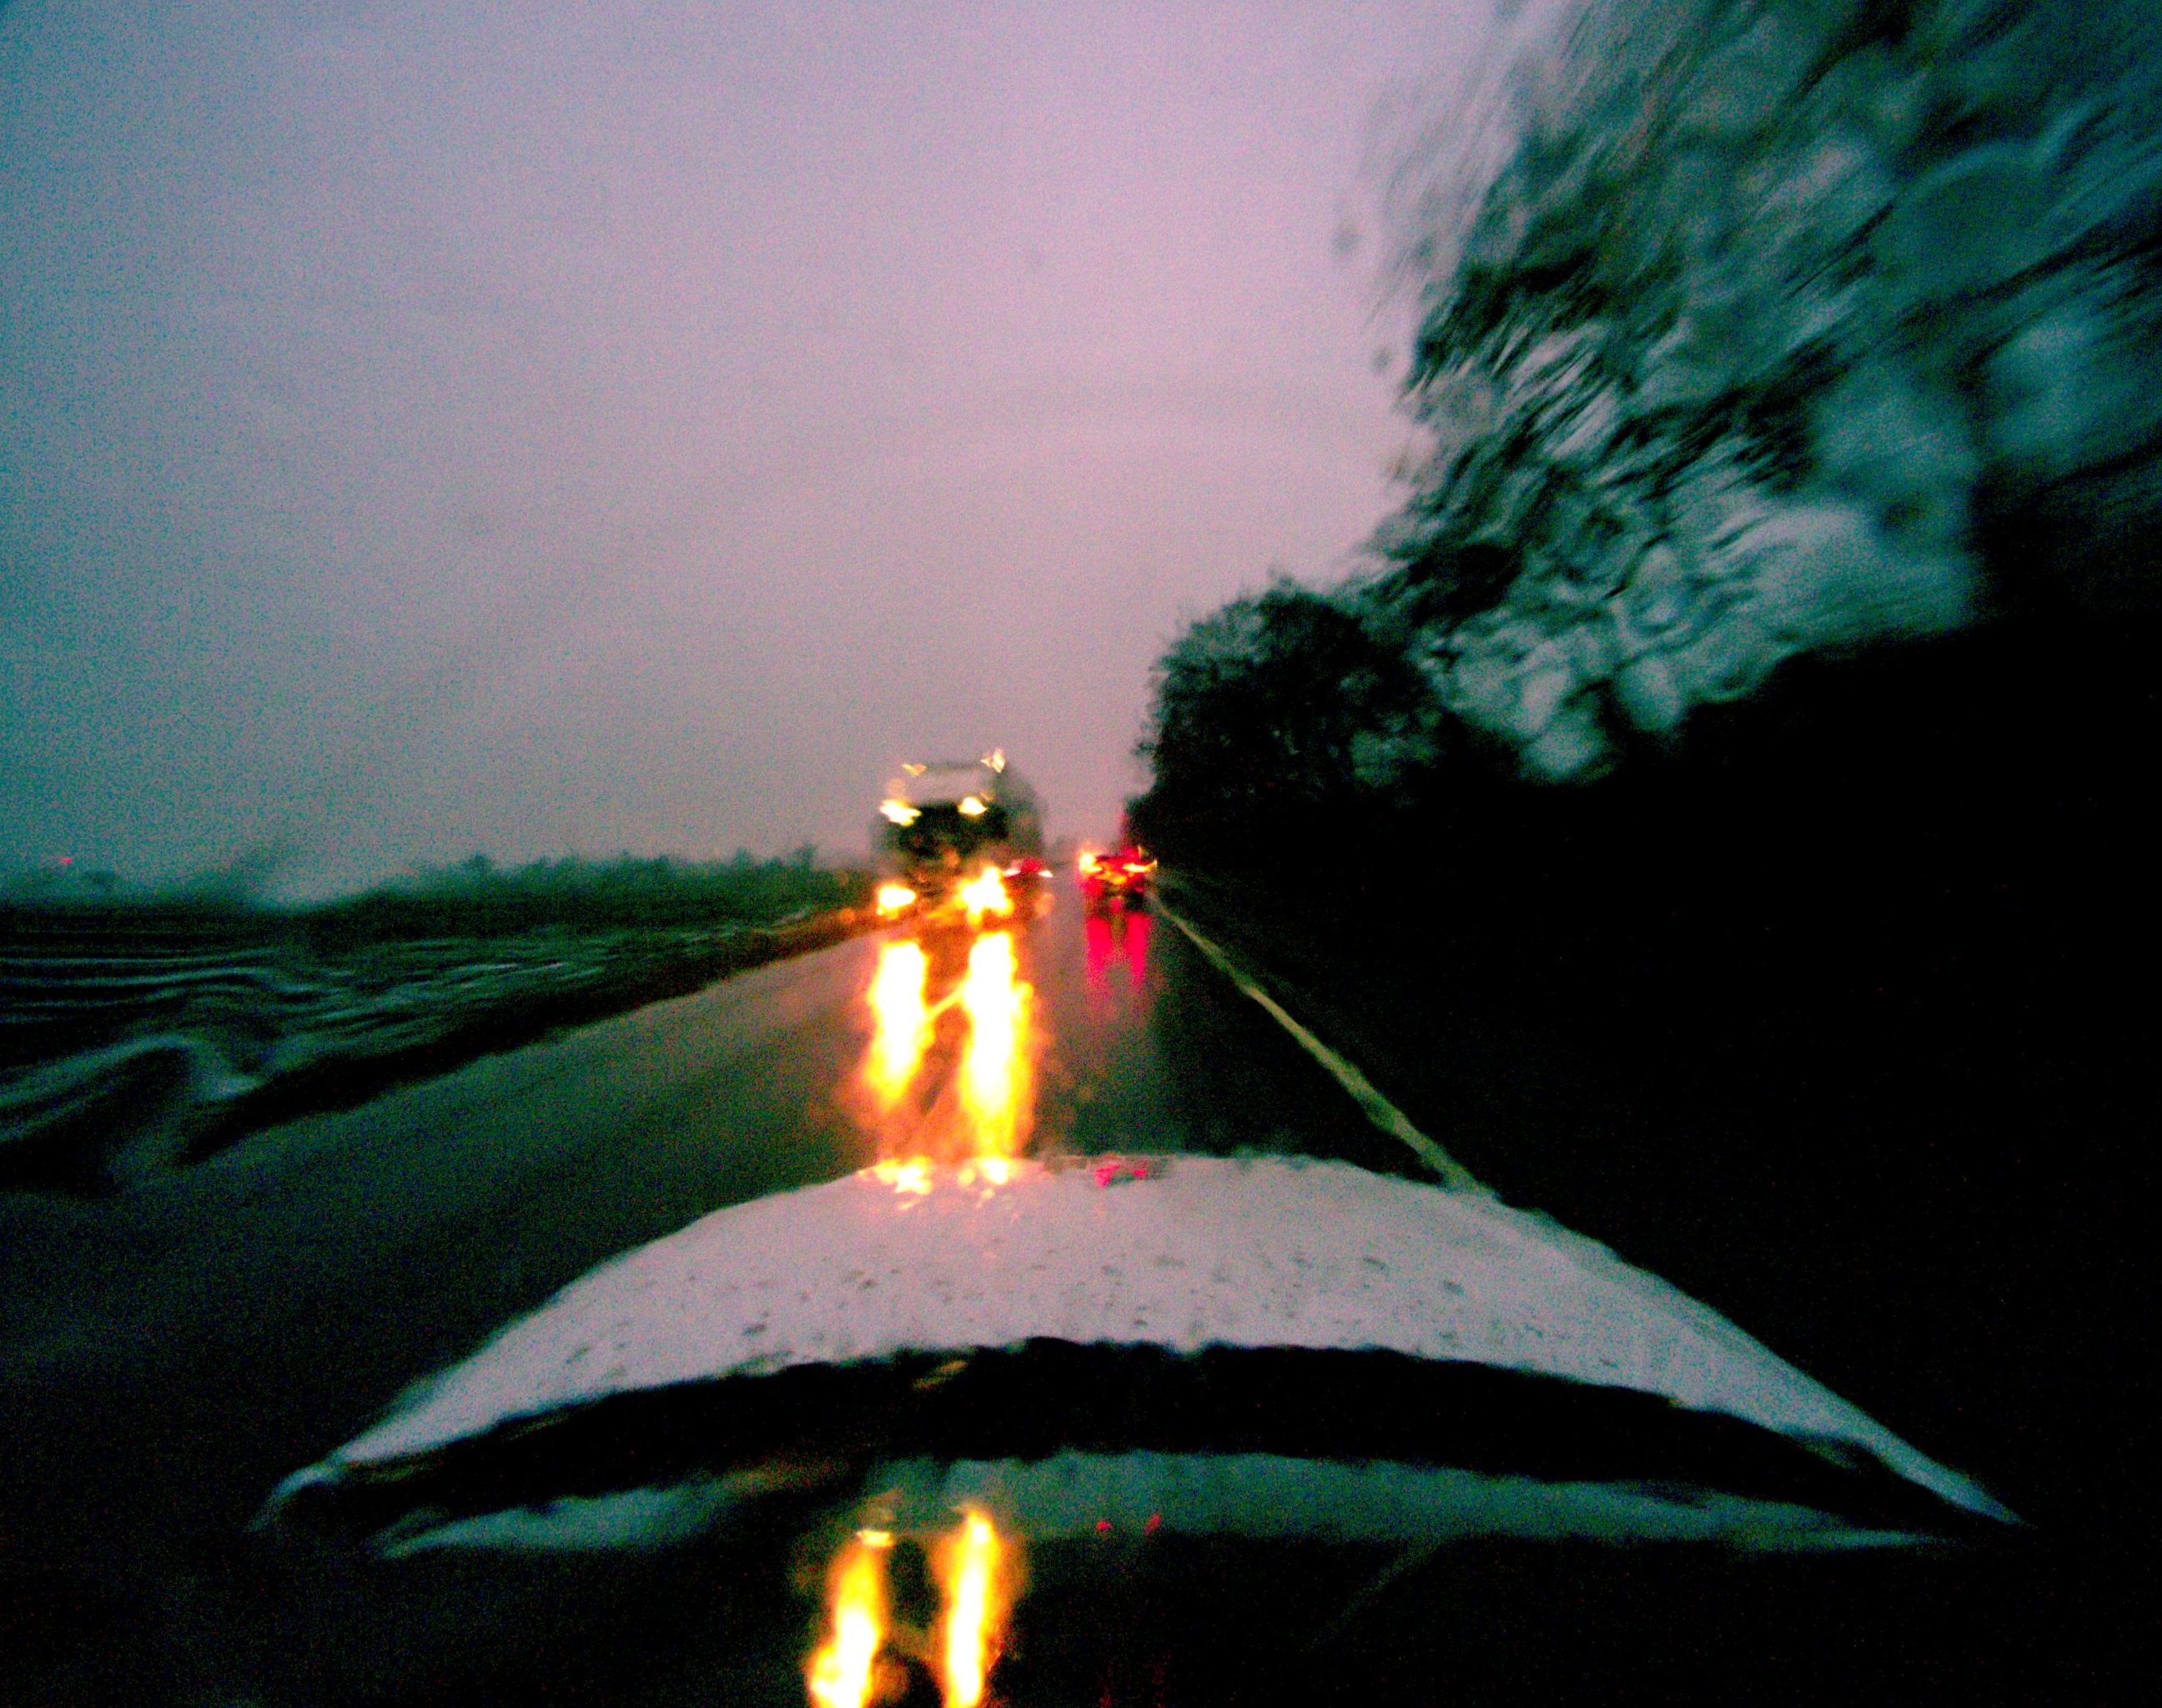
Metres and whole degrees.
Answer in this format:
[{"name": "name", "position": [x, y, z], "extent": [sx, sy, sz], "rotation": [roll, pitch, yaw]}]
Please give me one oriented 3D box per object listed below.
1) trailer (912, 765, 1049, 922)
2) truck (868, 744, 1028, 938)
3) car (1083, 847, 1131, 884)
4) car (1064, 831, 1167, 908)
[{"name": "trailer", "position": [-2.938, -0.296, 27.892], "extent": [2.692, 4.080, 12.384], "rotation": [-3, 0, 1]}, {"name": "truck", "position": [-3.101, -0.293, 21.003], "extent": [2.715, 4.105, 6.590], "rotation": [-3, 0, 1]}, {"name": "car", "position": [1.560, 0.670, 47.748], "extent": [2.582, 2.014, 5.807], "rotation": [-1, 0, 2]}, {"name": "car", "position": [1.078, 0.447, 25.450], "extent": [2.809, 2.077, 5.807], "rotation": [-1, 0, 2]}]
